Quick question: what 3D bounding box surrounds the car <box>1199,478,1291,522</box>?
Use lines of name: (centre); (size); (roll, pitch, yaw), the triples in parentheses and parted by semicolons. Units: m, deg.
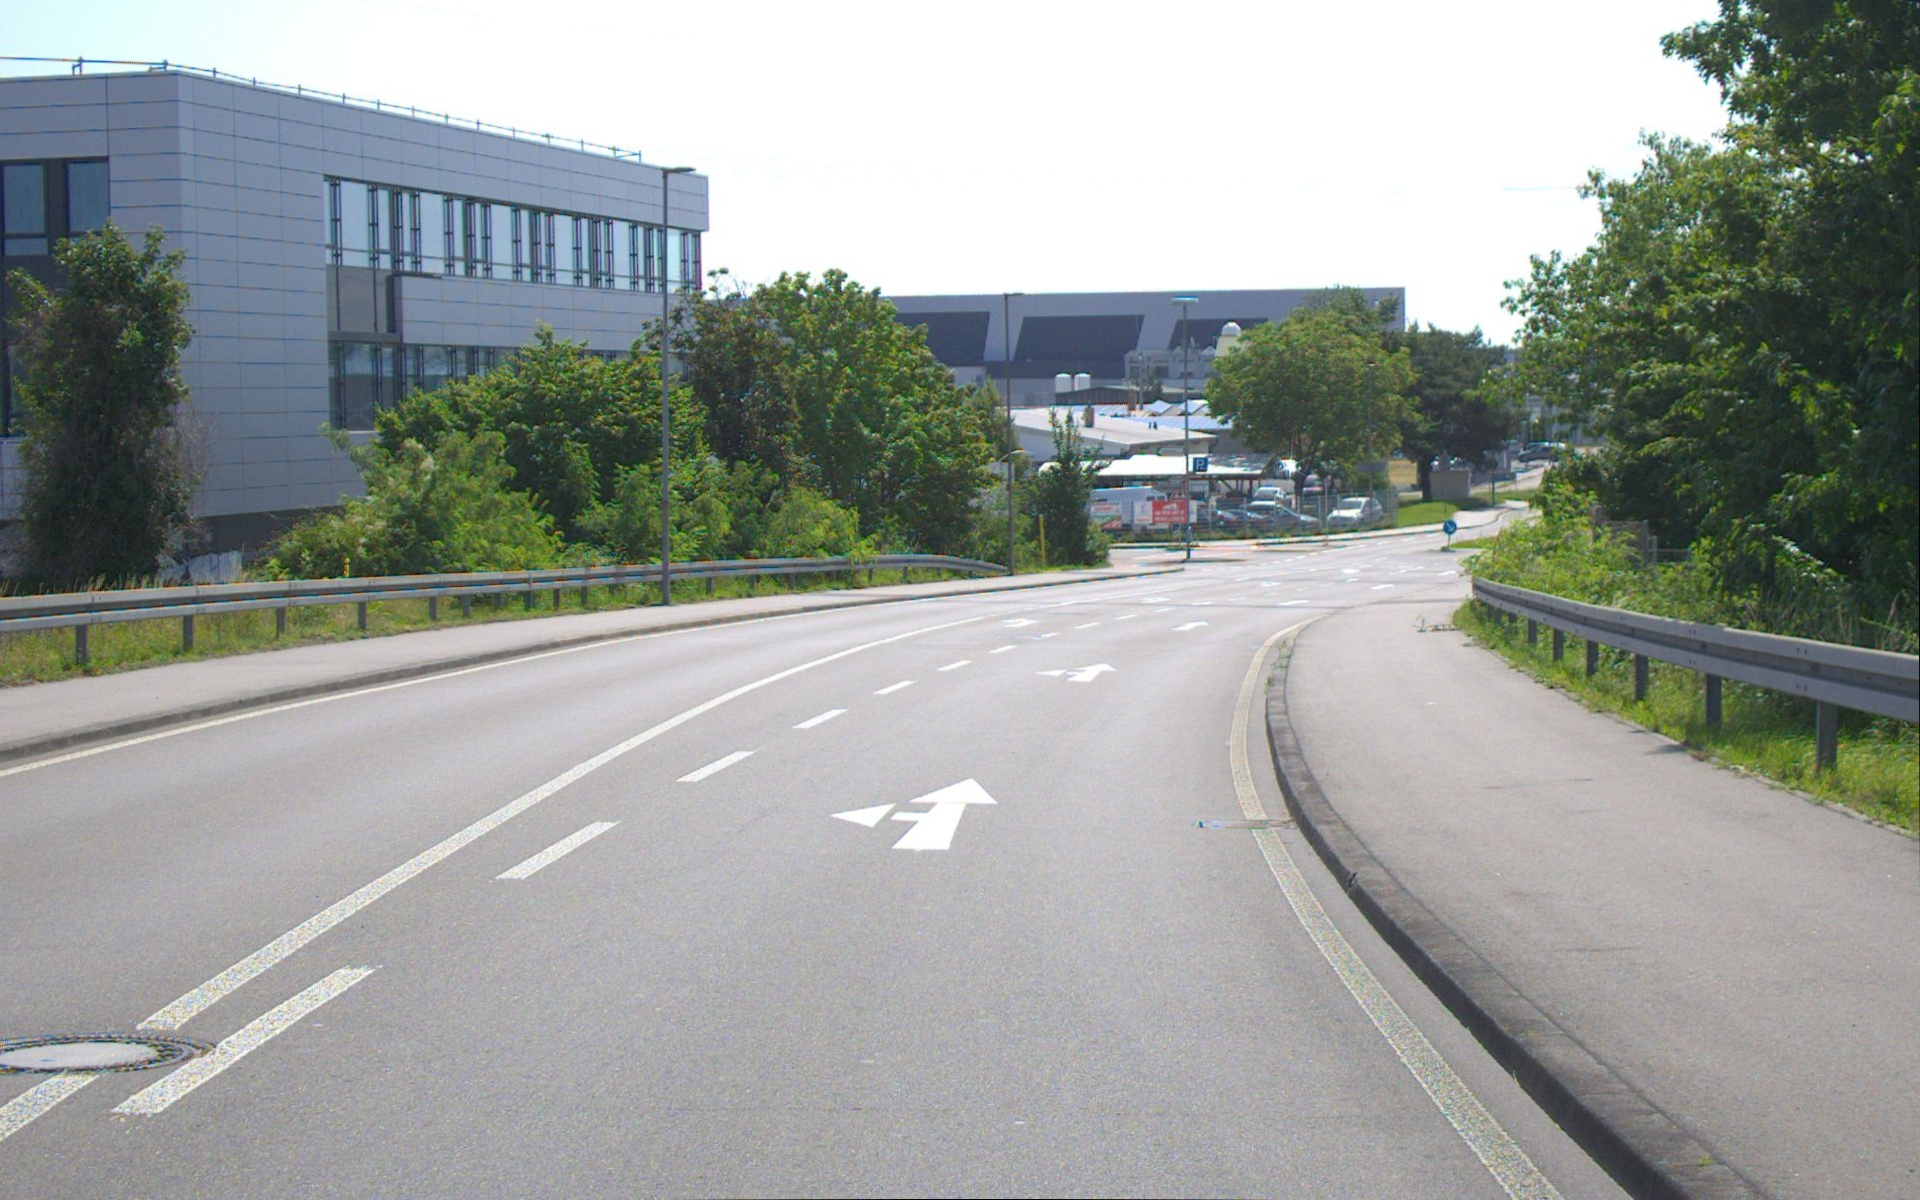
car: (13.587, -4.786, 163.944); (3.997, 1.897, 1.995); (3, 5, 41)

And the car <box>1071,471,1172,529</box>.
car: (7.430, -4.629, 158.642); (4.362, 2.599, 1.995); (2, 3, 42)

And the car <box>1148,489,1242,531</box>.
car: (10.934, -4.224, 160.238); (3.997, 1.774, 1.995); (4, 5, 43)

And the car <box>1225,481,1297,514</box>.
car: (17.127, -5.859, 195.590); (3.987, 1.843, 1.835); (0, 3, 3)
